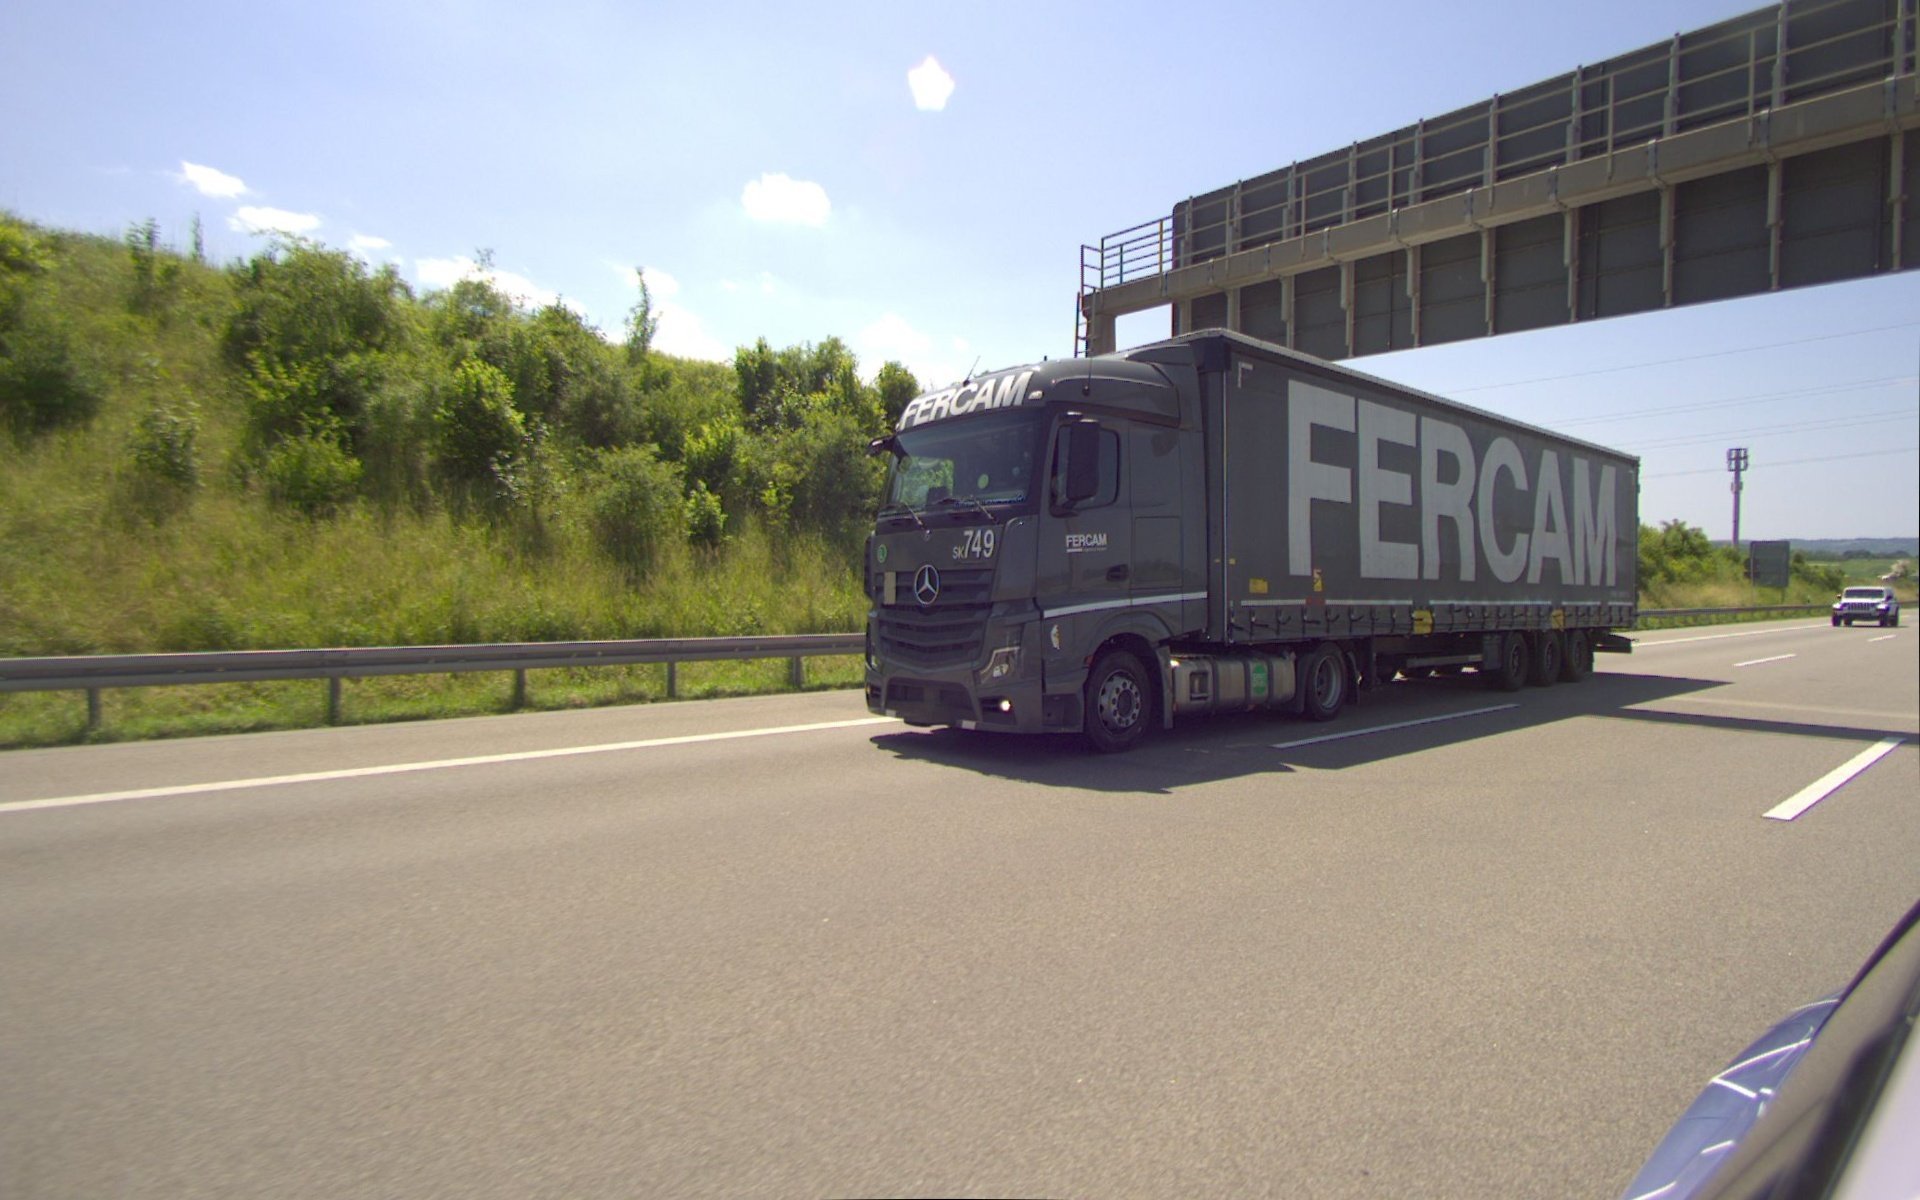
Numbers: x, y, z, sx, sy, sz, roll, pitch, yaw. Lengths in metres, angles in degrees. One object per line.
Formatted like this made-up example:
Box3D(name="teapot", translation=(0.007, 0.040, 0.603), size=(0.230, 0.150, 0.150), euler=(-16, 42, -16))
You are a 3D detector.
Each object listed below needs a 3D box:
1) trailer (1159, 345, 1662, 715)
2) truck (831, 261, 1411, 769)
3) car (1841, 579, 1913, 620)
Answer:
Box3D(name="trailer", translation=(7.956, -0.893, 16.350), size=(11.602, 4.207, 2.730), euler=(-1, 1, -41))
Box3D(name="truck", translation=(2.122, -0.738, 11.337), size=(6.669, 4.071, 2.757), euler=(-1, 1, -40))
Box3D(name="car", translation=(42.498, -0.044, 46.894), size=(4.177, 1.827, 2.038), euler=(-1, 1, -41))
